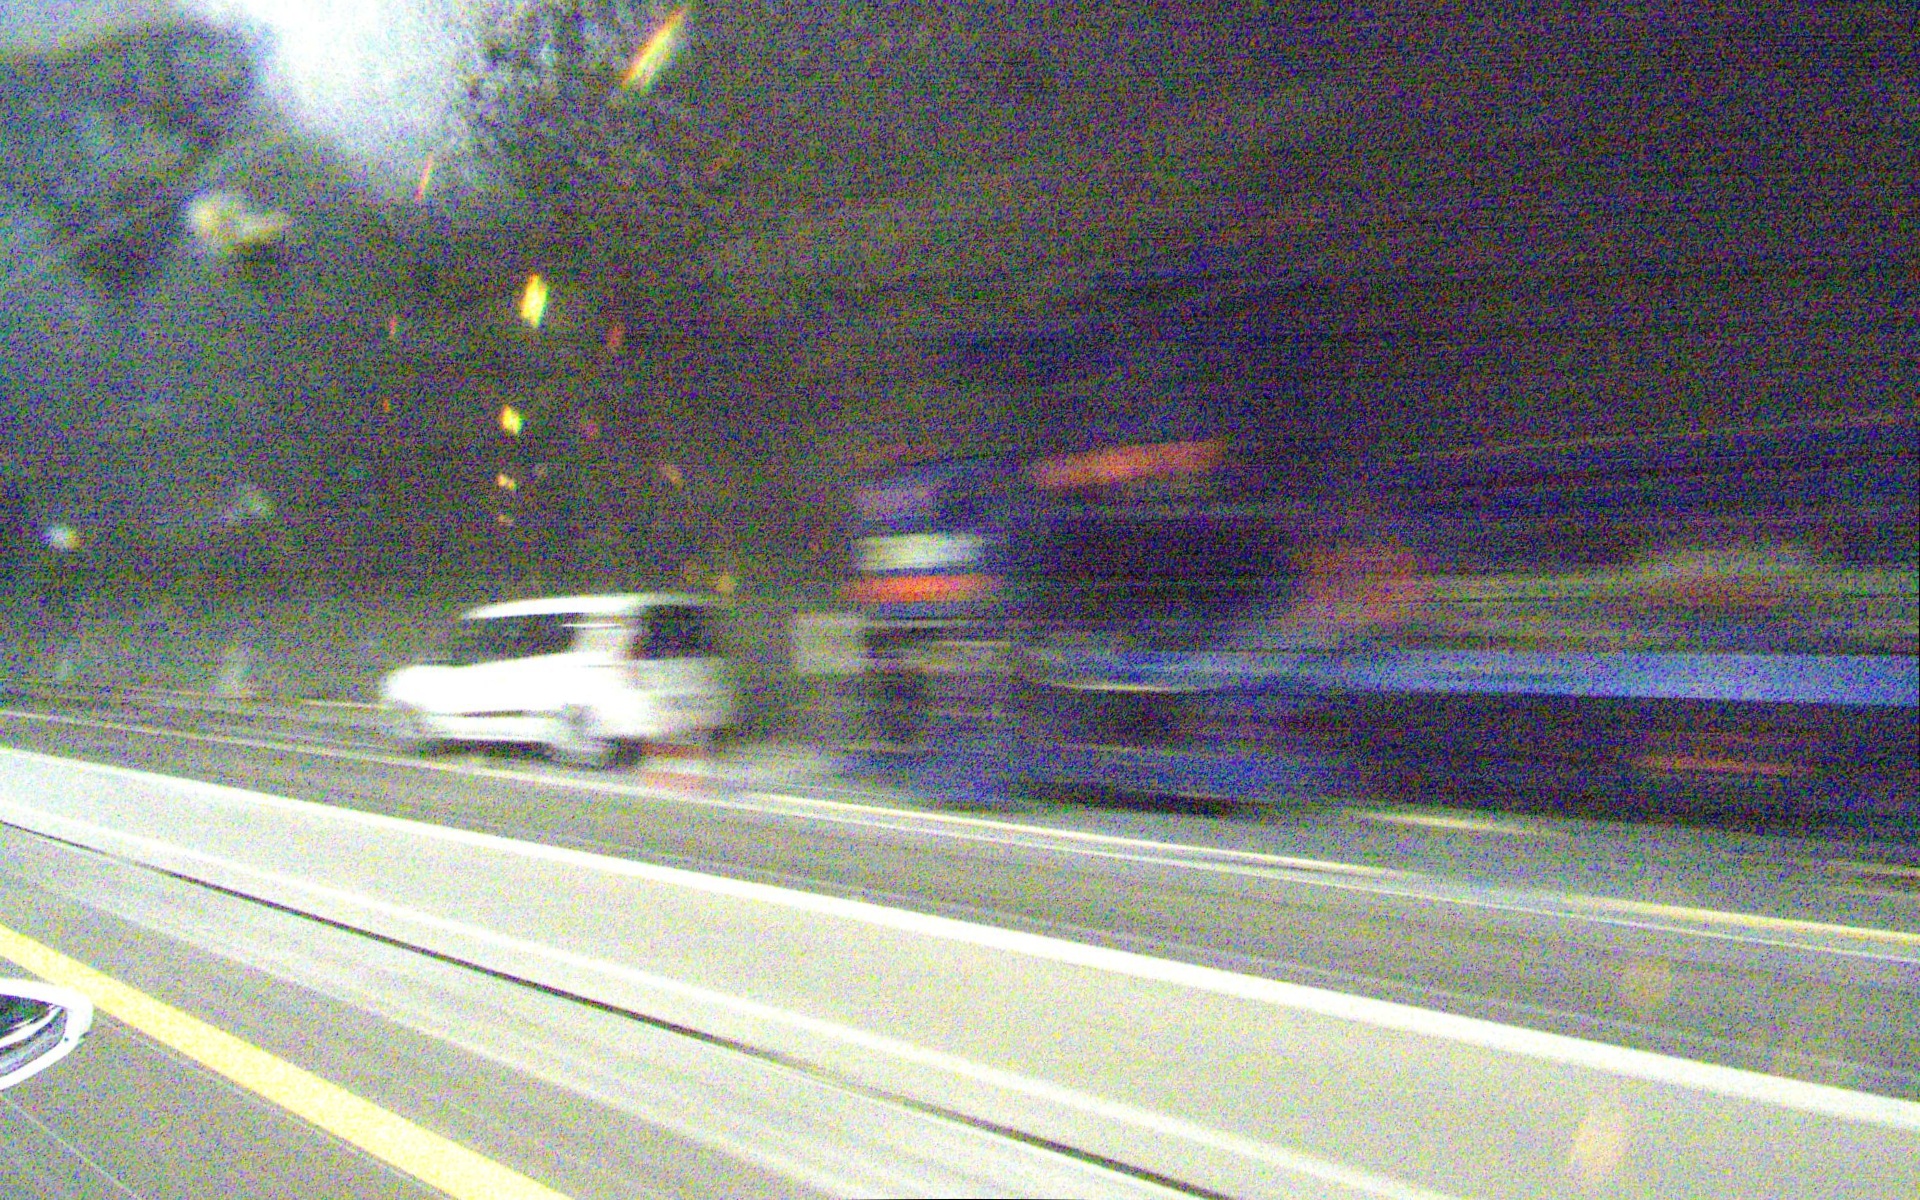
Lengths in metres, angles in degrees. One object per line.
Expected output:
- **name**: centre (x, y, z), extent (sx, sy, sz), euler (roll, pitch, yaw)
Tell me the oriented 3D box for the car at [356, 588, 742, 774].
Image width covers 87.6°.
- **car**: centre (-4.957, 0.858, 11.940), extent (4.573, 1.869, 1.750), euler (-1, -1, 28)
